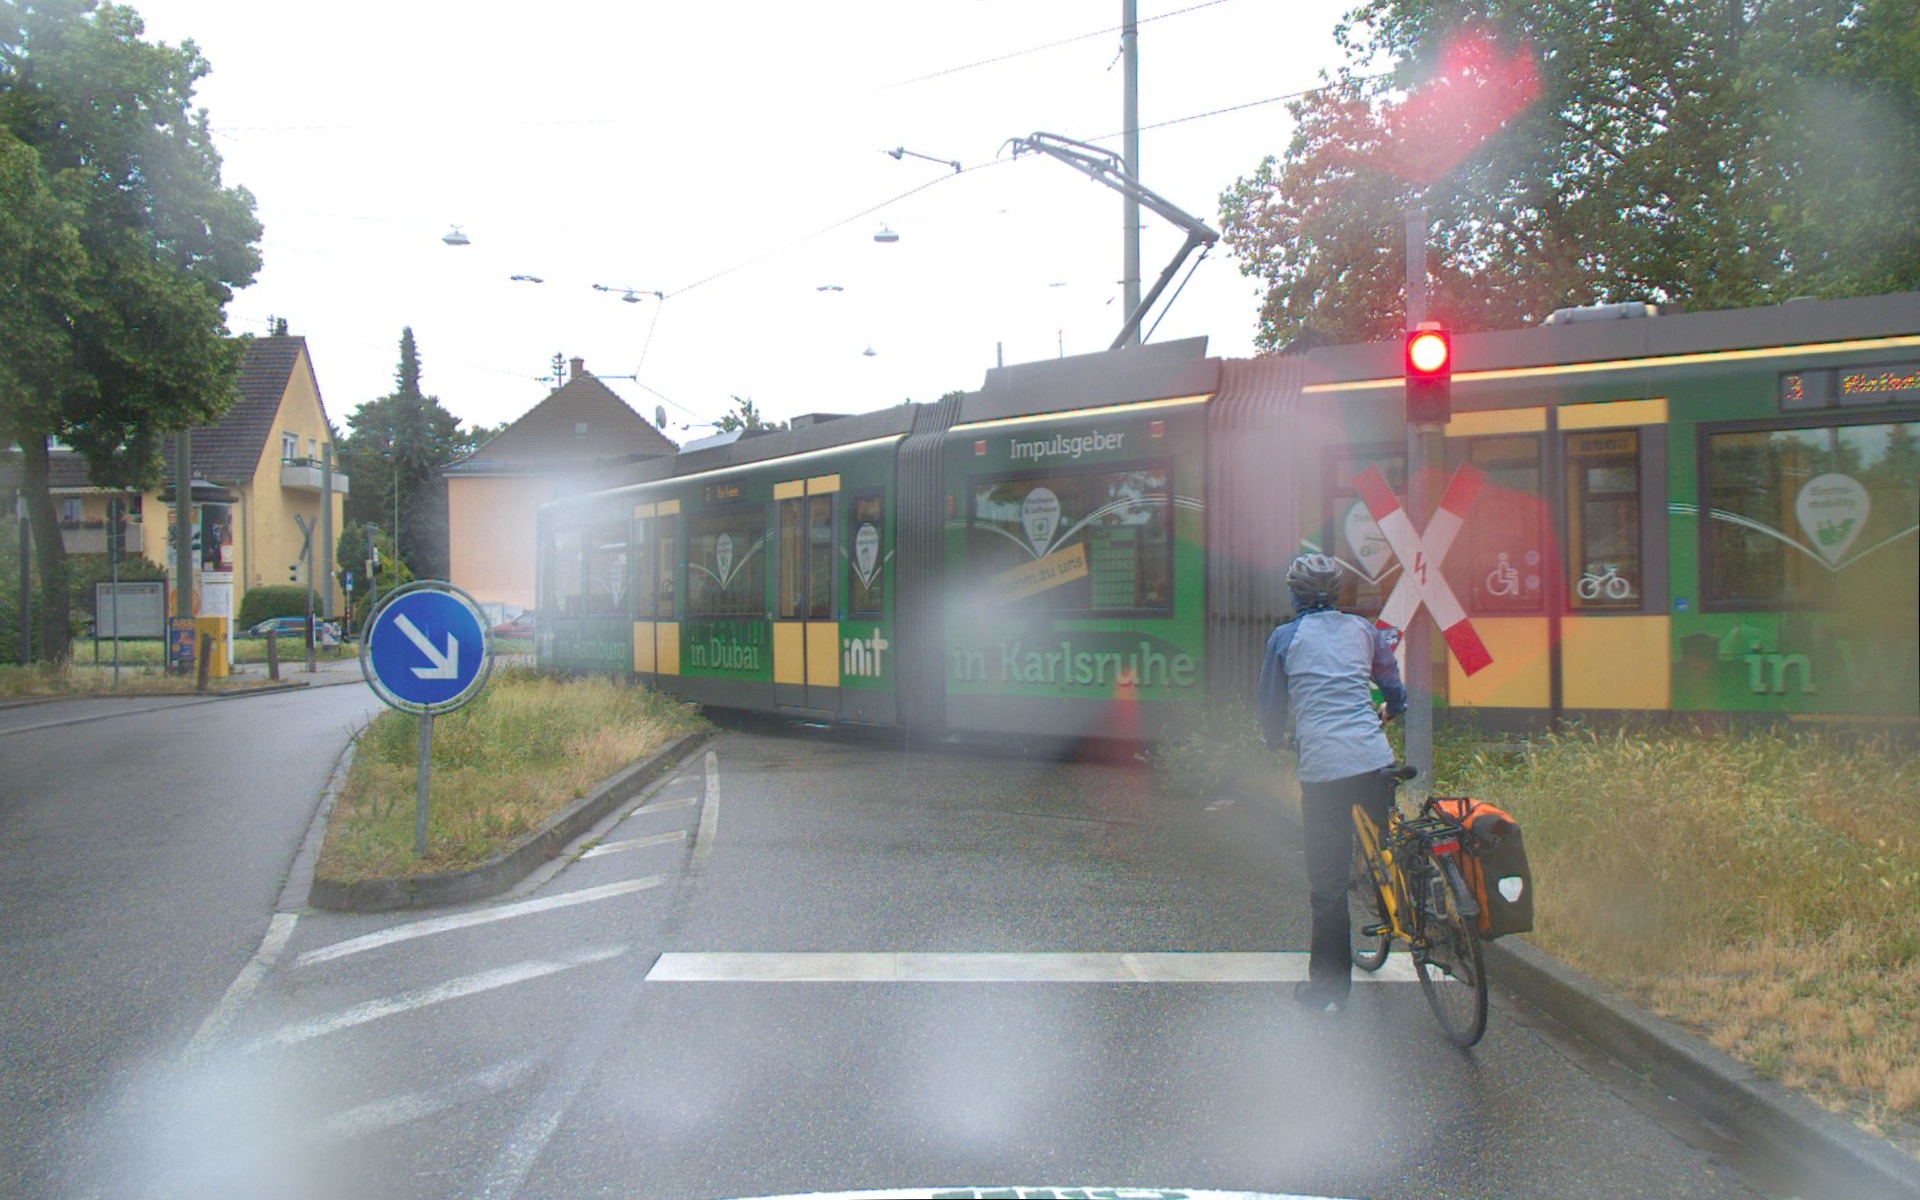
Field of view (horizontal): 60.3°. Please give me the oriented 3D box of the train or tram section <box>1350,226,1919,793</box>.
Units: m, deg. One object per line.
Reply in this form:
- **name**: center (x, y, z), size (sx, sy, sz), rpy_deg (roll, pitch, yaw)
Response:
- **train or tram section**: center (8.814, -0.632, 10.653), size (11.932, 3.615, 2.765), rpy_deg (-1, 0, 29)

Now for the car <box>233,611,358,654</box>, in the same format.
- **car**: center (-24.444, 1.195, 60.960), size (3.911, 1.482, 1.831), rpy_deg (1, 0, -7)

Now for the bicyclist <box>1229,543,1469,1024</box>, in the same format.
- **bicyclist**: center (1.418, 0.640, 6.155), size (0.653, 1.654, 0.852), rpy_deg (1, -1, -2)

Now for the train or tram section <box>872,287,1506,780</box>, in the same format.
- **train or tram section**: center (1.941, -0.471, 14.814), size (4.897, 3.615, 2.754), rpy_deg (-1, 0, 41)

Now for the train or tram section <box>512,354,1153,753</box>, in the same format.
- **train or tram section**: center (-2.582, -0.378, 21.297), size (2.733, 3.615, 12.994), rpy_deg (-1, 0, -31)

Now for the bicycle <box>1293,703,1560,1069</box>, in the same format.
- **bicycle**: center (1.646, 0.953, 6.078), size (0.437, 1.022, 1.727), rpy_deg (-1, 1, -2)

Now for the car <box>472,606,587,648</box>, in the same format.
- **car**: center (-16.189, 1.012, 62.331), size (3.911, 1.482, 1.831), rpy_deg (1, 0, -7)
